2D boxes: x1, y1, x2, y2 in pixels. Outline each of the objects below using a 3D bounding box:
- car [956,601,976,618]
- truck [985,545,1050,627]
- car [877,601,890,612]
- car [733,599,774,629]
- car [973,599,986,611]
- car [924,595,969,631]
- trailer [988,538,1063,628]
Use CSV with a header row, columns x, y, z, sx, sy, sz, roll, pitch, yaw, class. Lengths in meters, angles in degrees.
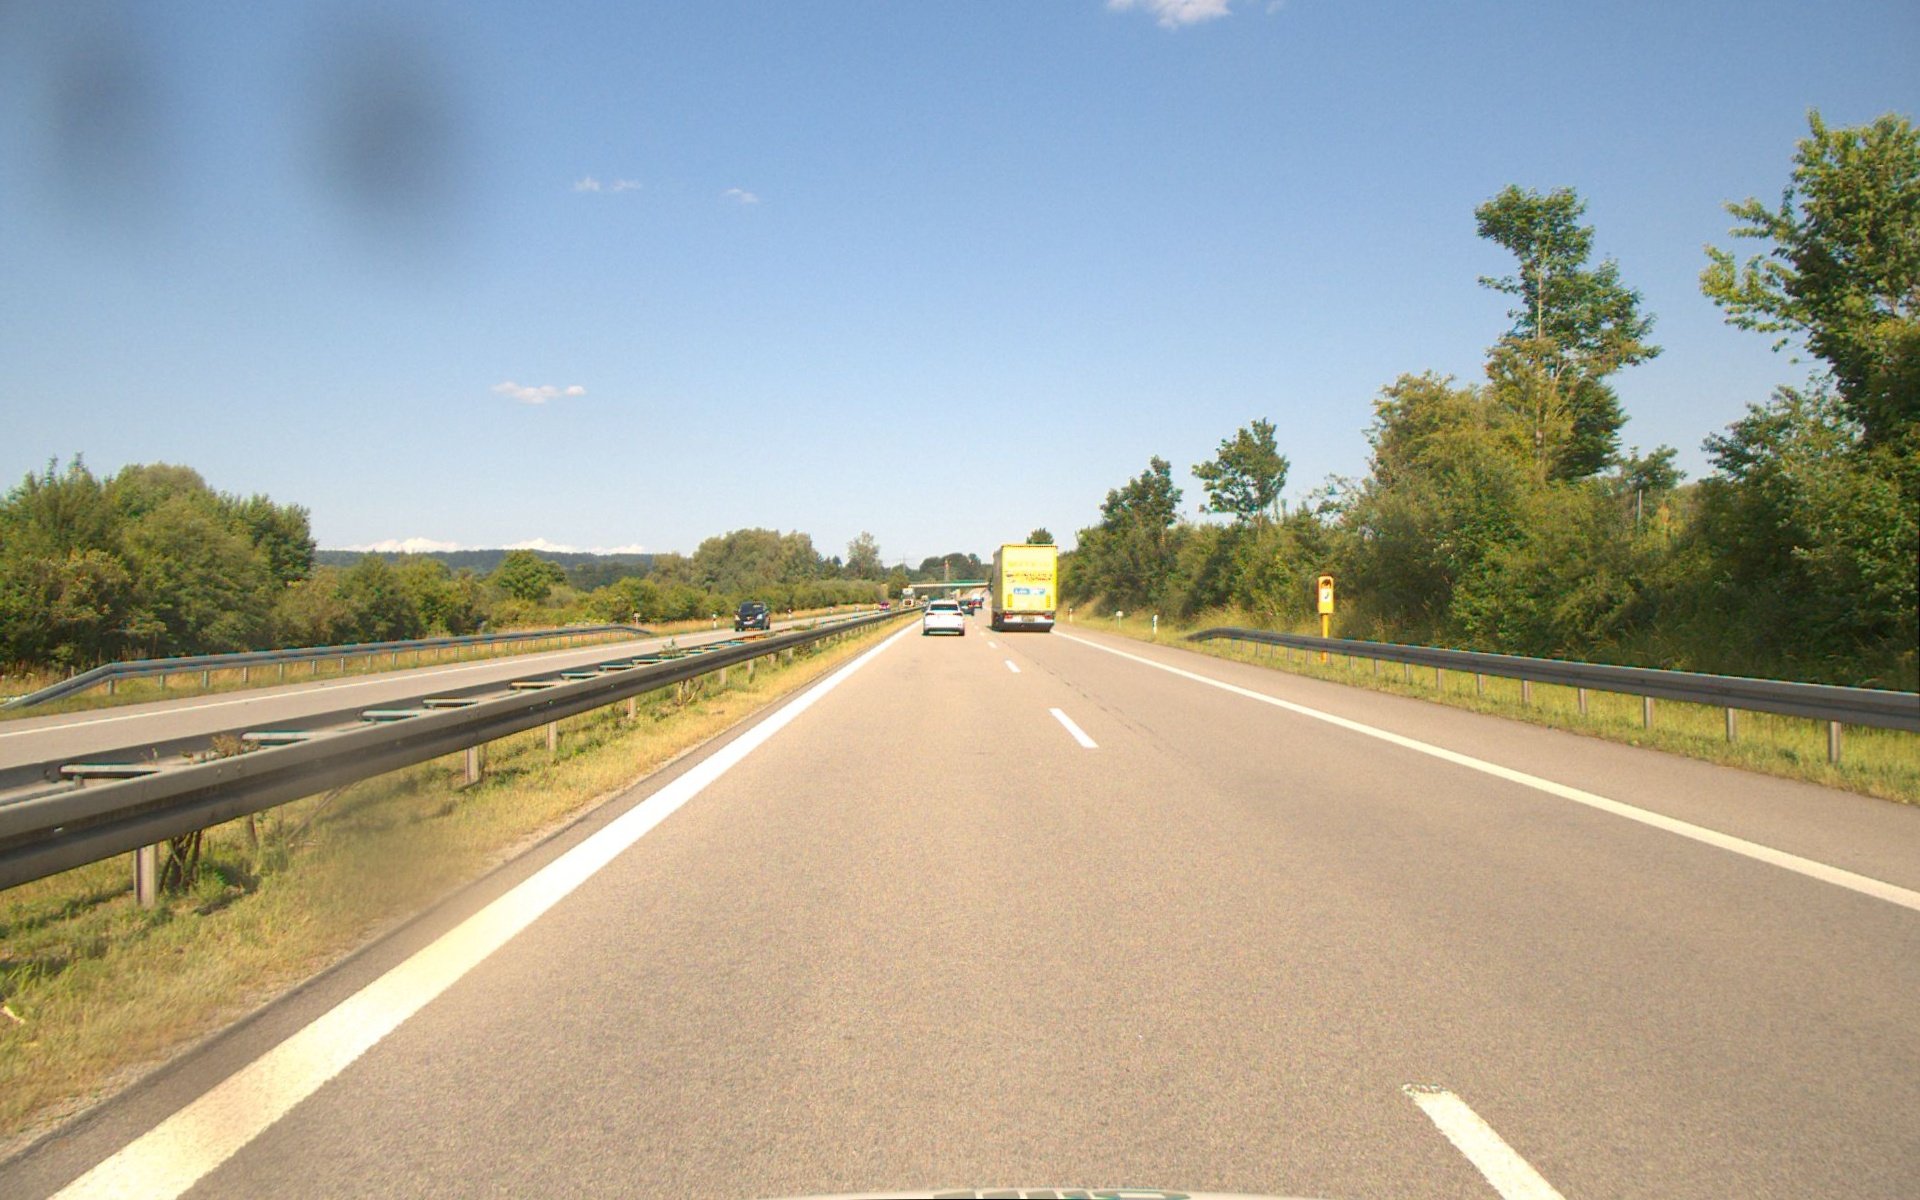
x,y,z,sx,sy,sz,roll,pitch,yaw,class
0.599,0.848,154.687,1.805,1.546,4.000,1,0,1,car
3.070,-0.718,89.661,3.104,4.186,6.387,1,0,-1,truck
-11.661,0.997,252.781,1.694,1.537,4.480,-3,0,1,car
-12.032,0.806,96.577,1.792,1.599,4.655,-2,0,-1,car
3.062,0.817,259.249,1.863,1.712,4.730,2,0,-1,car
-0.531,0.540,69.703,1.805,1.440,4.000,1,0,1,car
3.142,-0.759,83.044,3.119,4.130,13.185,1,0,0,trailer
